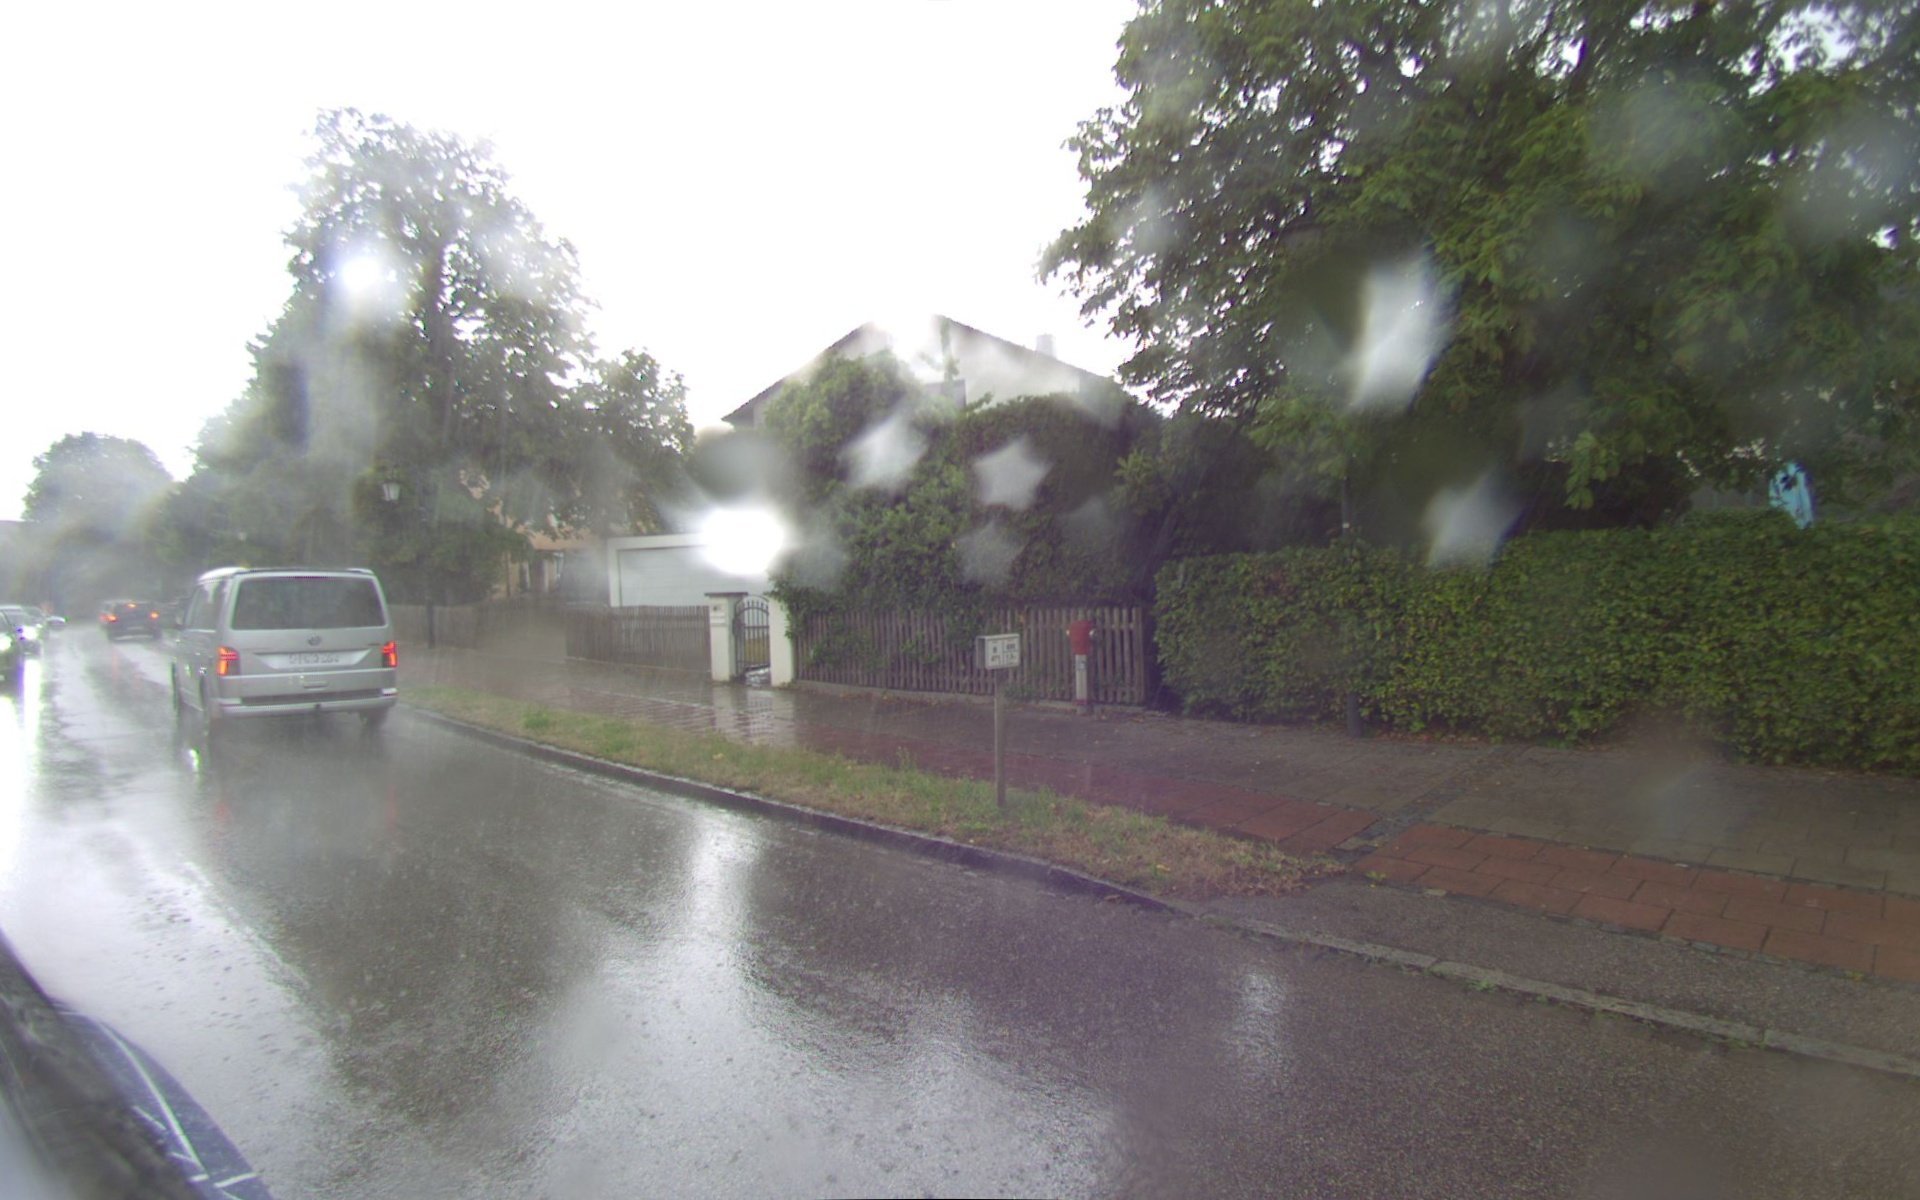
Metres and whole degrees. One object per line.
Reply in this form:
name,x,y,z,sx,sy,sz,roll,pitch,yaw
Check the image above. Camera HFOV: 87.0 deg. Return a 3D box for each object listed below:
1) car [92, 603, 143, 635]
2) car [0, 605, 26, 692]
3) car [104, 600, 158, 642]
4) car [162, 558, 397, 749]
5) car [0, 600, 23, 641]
car,-45.620,1.011,54.778,1.733,1.690,4.002,1,-1,-45
car,-20.895,0.997,21.172,1.845,1.624,4.967,-4,3,-42
car,-34.085,0.845,41.574,1.567,1.622,3.543,0,-1,-42
car,-8.813,0.577,12.912,1.828,1.986,4.707,1,-1,-42
car,-38.577,0.815,40.198,1.845,1.532,4.967,-4,3,-42
